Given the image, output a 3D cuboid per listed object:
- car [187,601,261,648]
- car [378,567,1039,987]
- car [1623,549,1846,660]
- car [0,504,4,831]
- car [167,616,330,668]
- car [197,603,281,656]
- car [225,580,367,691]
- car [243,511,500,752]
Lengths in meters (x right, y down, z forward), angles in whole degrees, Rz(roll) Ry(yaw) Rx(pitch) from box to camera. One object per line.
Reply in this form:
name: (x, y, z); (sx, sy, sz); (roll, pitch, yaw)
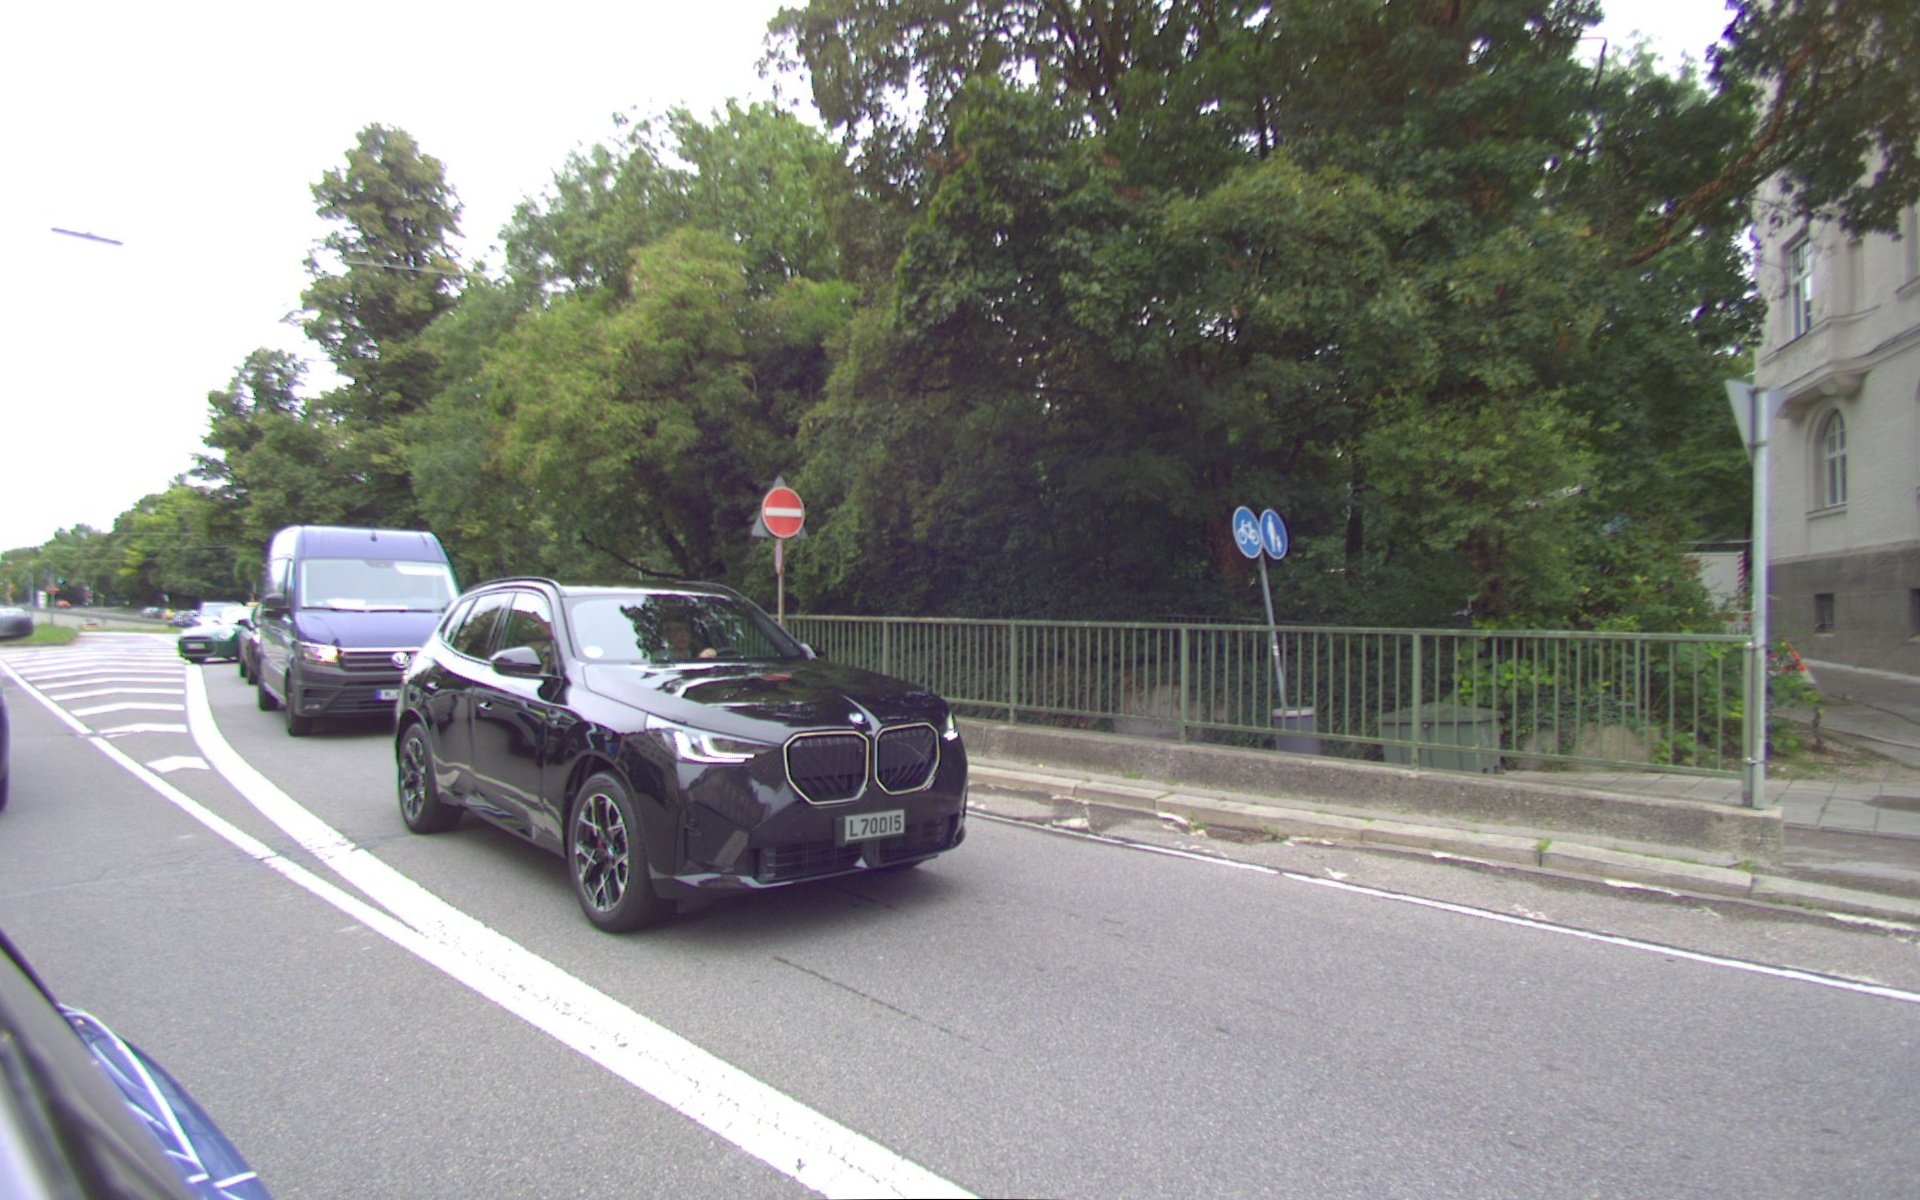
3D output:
car: (-30.153, 0.979, 41.377); (2.280, 1.742, 5.225); (-1, 0, -38)
car: (-1.776, 0.689, 6.022); (1.894, 1.577, 4.297); (2, -1, -44)
car: (23.453, 0.145, 30.902); (4.759, 3.198, 2.473); (0, -1, 15)
car: (-8.886, 0.485, 7.769); (5.631, 2.115, 1.803); (-1, 0, 42)
car: (-18.677, 1.061, 26.751); (1.479, 1.223, 3.603); (0, 0, 8)
car: (-24.432, 0.936, 34.188); (2.071, 1.602, 5.579); (-1, 0, -38)
car: (-13.819, 0.658, 20.885); (1.975, 1.951, 5.817); (-1, 0, -38)
car: (-8.116, 0.326, 13.575); (1.975, 2.510, 6.243); (0, 0, -40)
